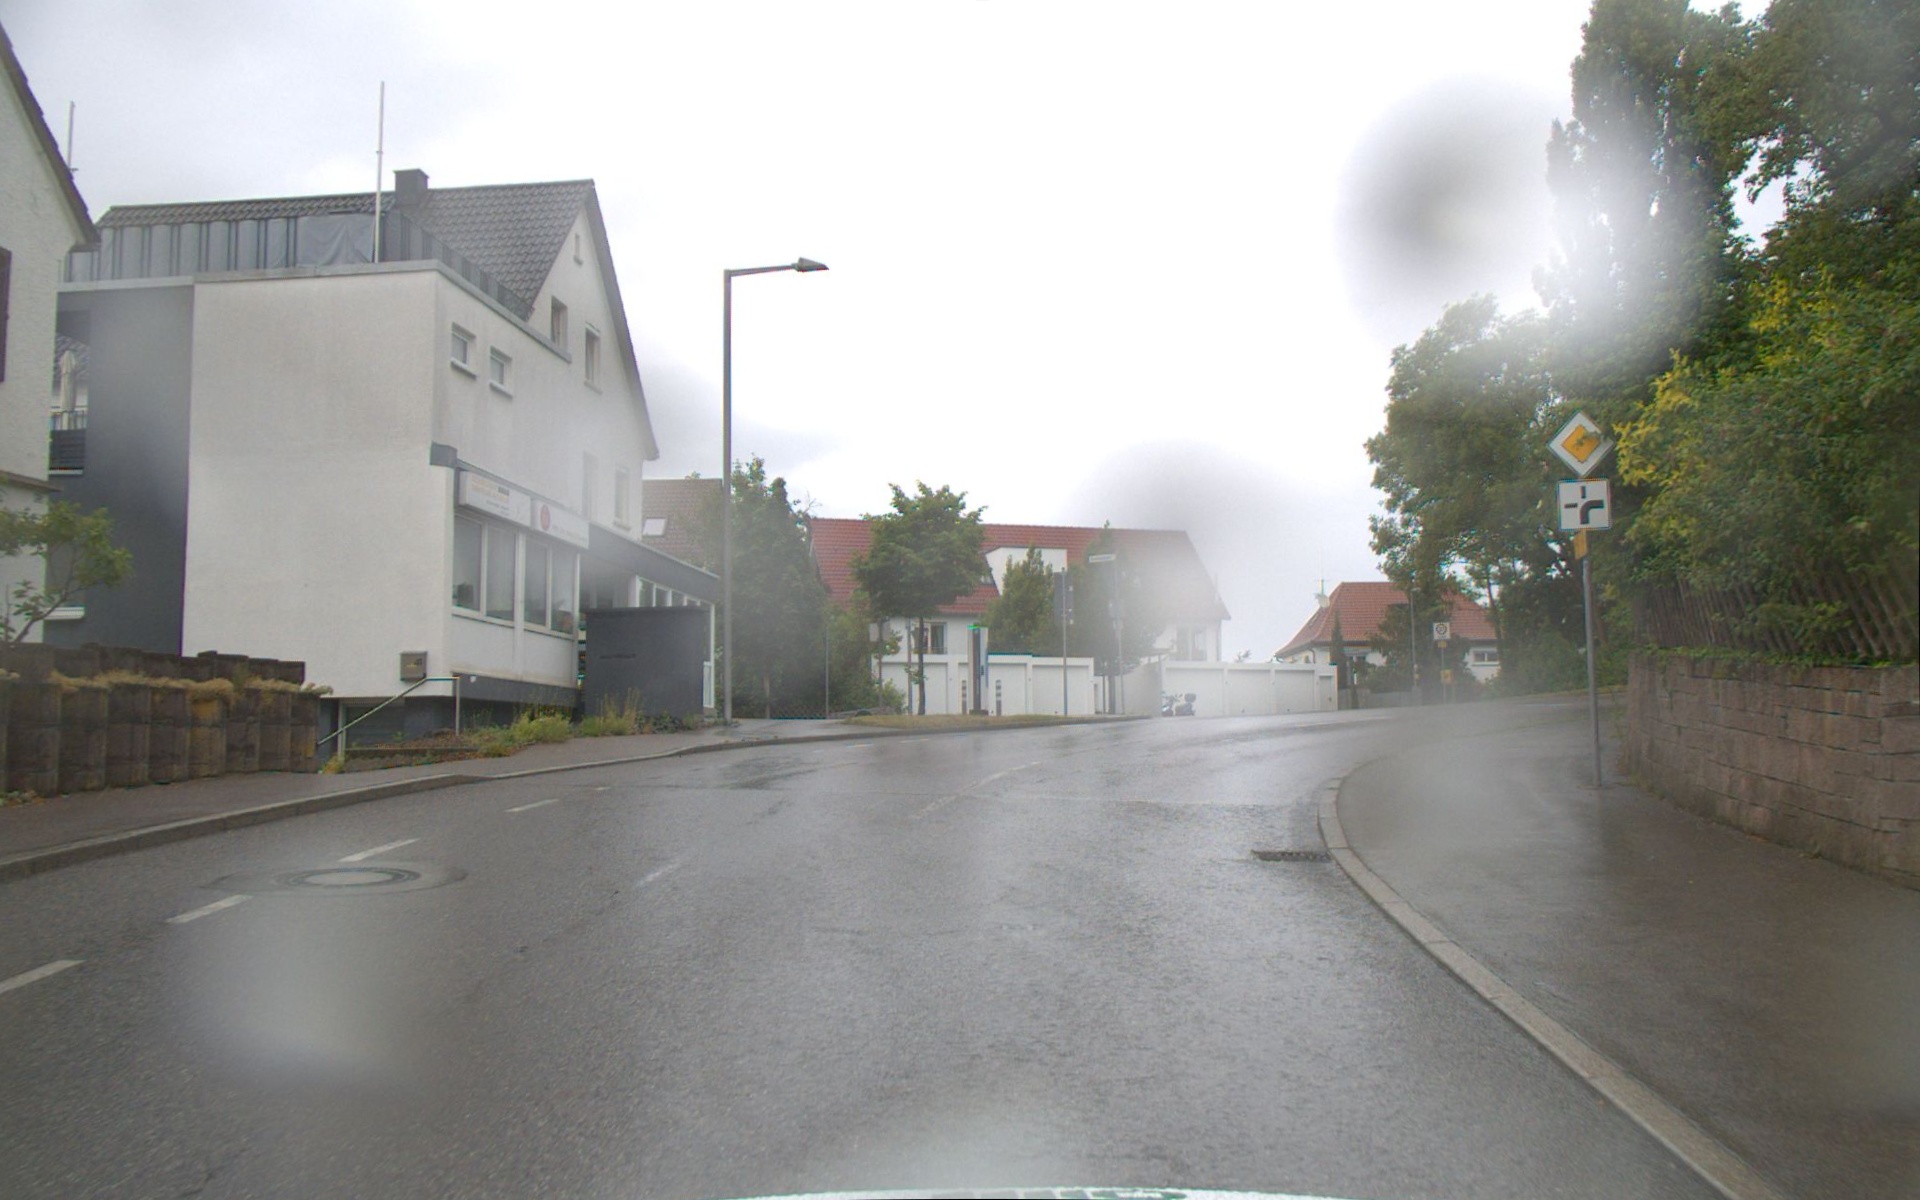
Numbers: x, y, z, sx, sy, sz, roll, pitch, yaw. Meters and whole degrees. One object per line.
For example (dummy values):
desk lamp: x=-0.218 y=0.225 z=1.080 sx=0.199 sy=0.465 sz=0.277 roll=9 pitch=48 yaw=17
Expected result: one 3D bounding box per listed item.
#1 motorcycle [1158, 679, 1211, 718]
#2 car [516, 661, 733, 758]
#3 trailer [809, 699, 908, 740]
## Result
motorcycle: x=8.220 y=3.606 z=60.610 sx=2.027 sy=1.345 sz=0.698 roll=1 pitch=-6 yaw=-41
car: x=-10.235 y=3.376 z=50.772 sx=6.105 sy=2.567 sz=2.191 roll=-3 pitch=-4 yaw=1
trailer: x=-3.114 y=3.679 z=51.008 sx=2.754 sy=1.024 sz=1.594 roll=-4 pitch=-4 yaw=7
